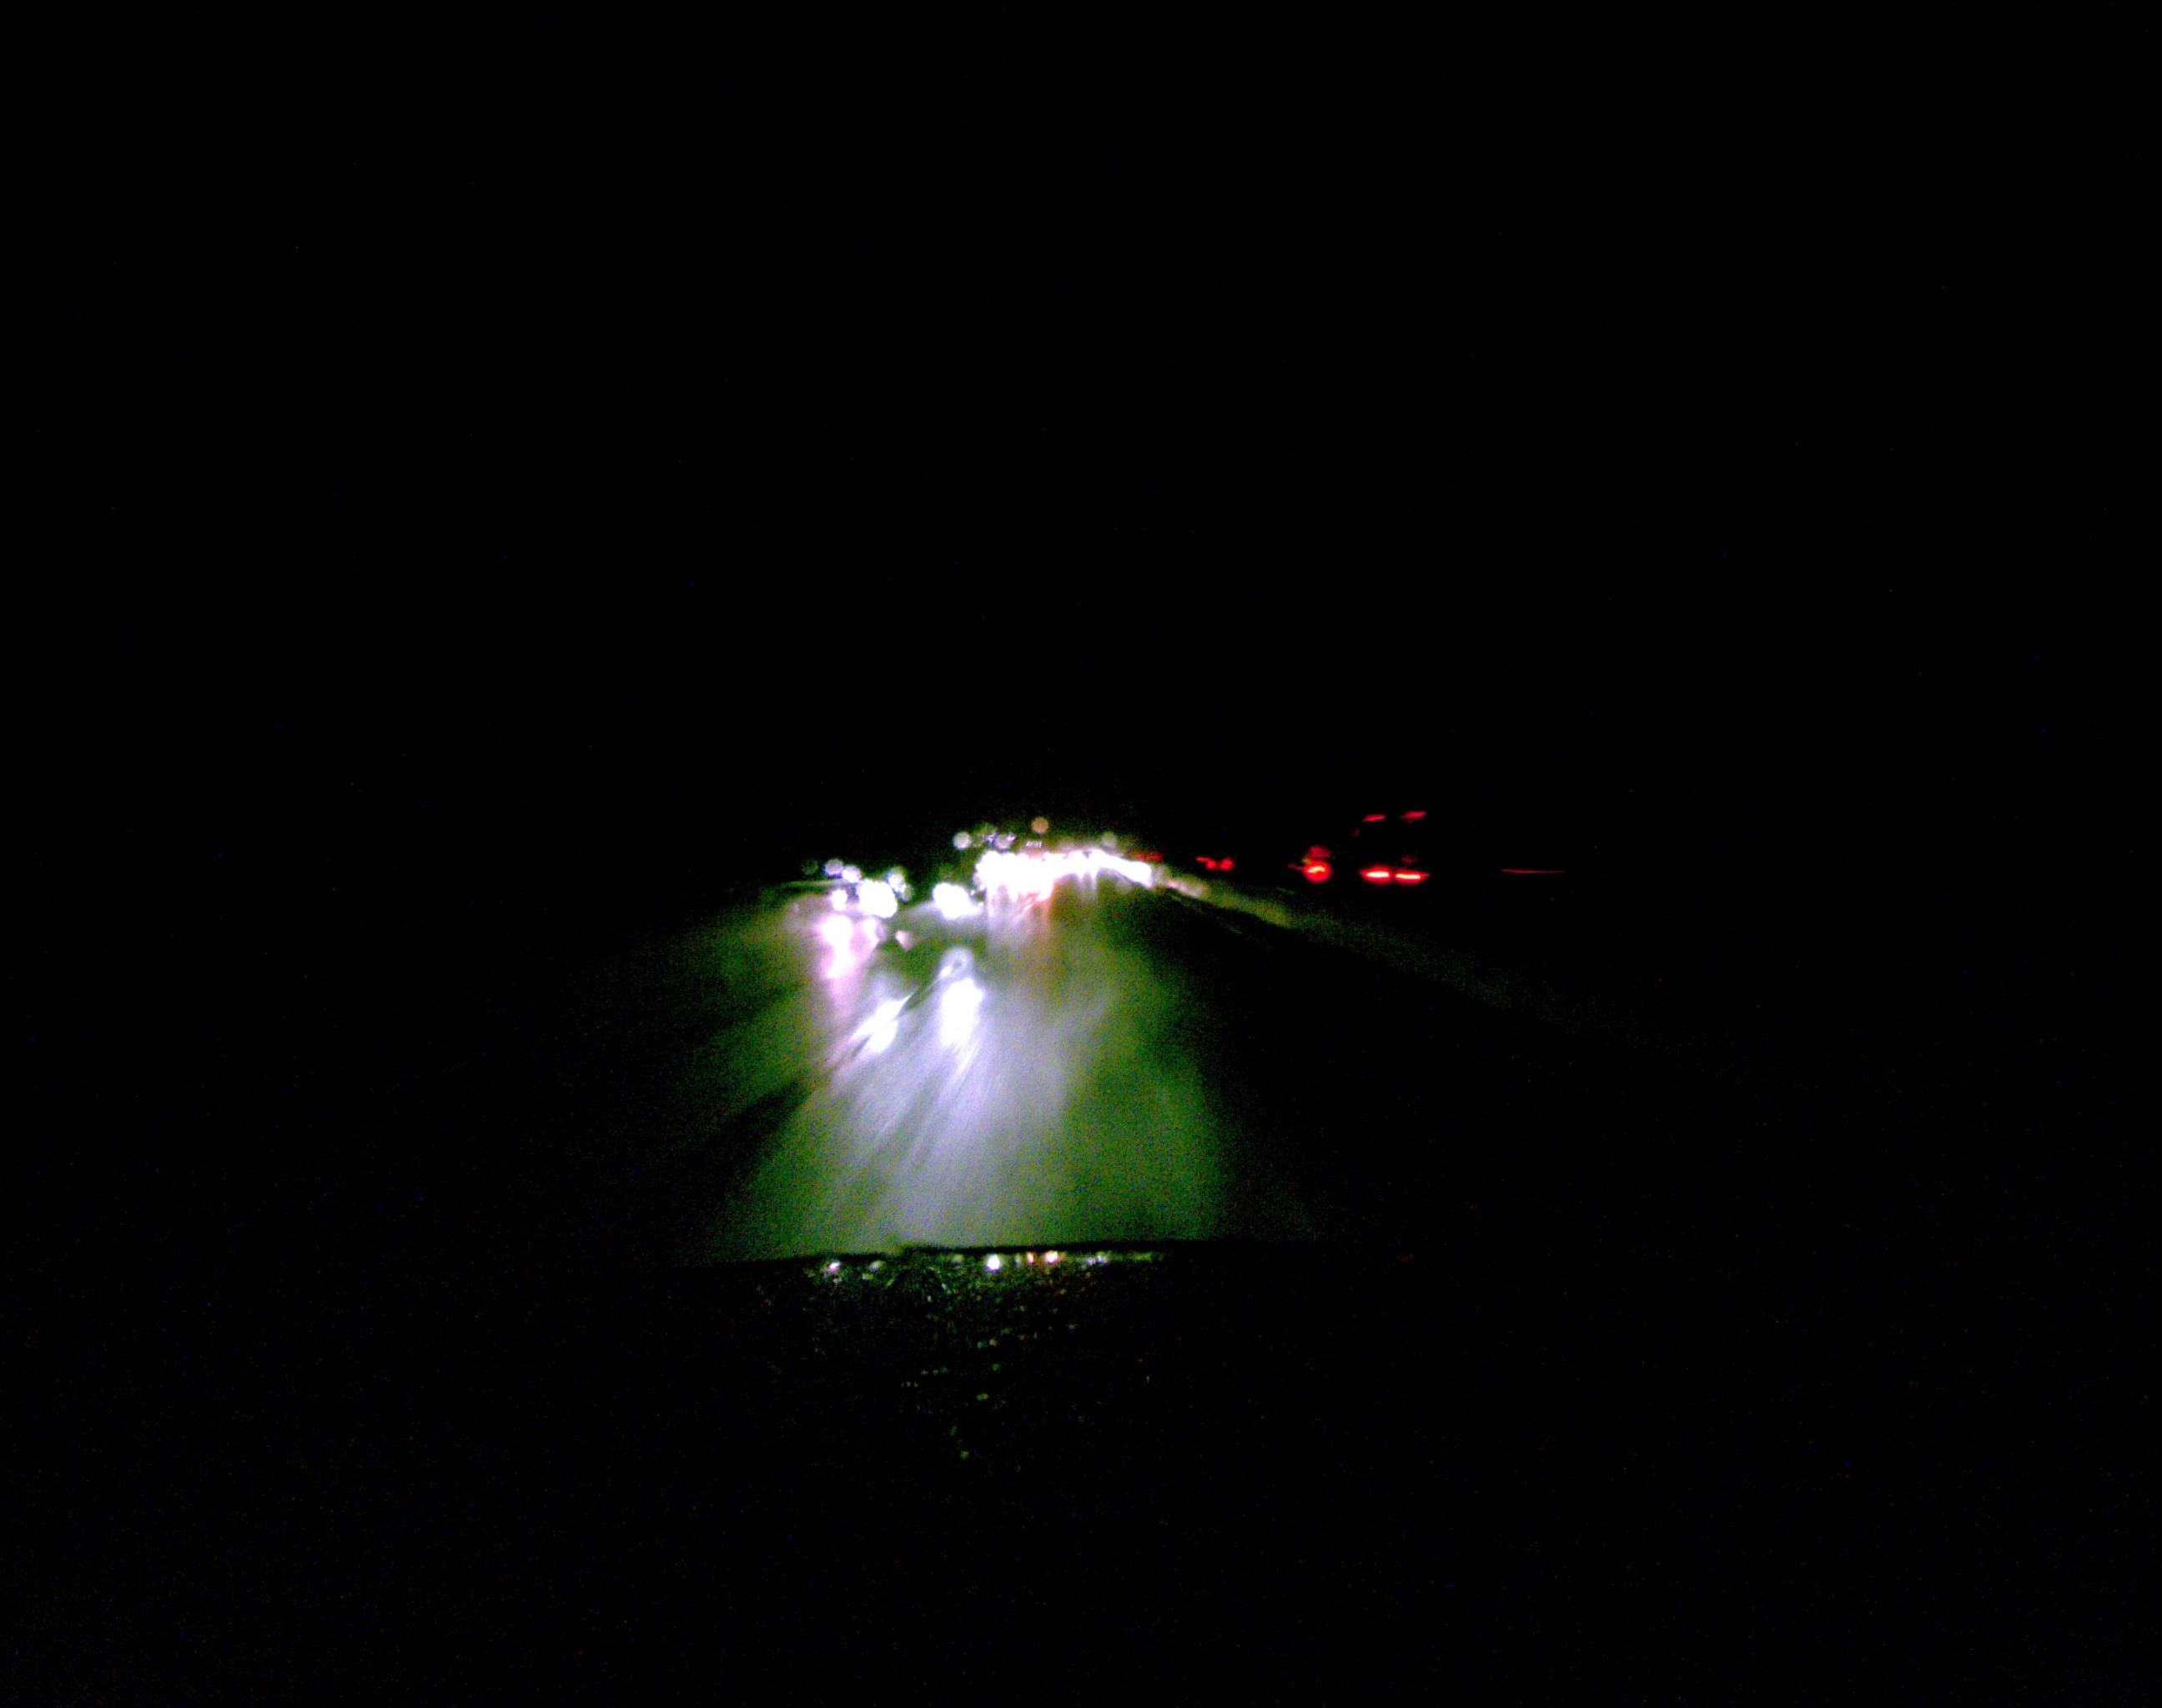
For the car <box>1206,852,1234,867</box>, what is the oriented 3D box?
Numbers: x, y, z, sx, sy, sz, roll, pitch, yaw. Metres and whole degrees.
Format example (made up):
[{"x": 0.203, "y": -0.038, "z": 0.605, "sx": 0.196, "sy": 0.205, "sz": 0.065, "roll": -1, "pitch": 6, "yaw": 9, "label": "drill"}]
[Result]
[{"x": 13.381, "y": 0.513, "z": 73.355, "sx": 1.998, "sy": 1.412, "sz": 4.000, "roll": 0, "pitch": 0, "yaw": 1, "label": "car"}]

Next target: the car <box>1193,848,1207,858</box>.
[{"x": 24.799, "y": -0.168, "z": 158.684, "sx": 1.998, "sy": 1.936, "sz": 5.386, "roll": 1, "pitch": 0, "yaw": 1, "label": "car"}]

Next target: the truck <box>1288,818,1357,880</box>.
[{"x": 17.462, "y": -0.335, "z": 55.300, "sx": 3.062, "sy": 4.268, "sz": 6.083, "roll": 1, "pitch": 0, "yaw": 1, "label": "truck"}]

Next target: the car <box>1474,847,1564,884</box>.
[{"x": 23.871, "y": 0.589, "z": 41.658, "sx": 2.219, "sy": 1.882, "sz": 4.789, "roll": 0, "pitch": 0, "yaw": 1, "label": "car"}]

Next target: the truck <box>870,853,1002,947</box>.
[{"x": -2.993, "y": 0.871, "z": 16.813, "sx": 1.848, "sy": 1.686, "sz": 4.854, "roll": -2, "pitch": 1, "yaw": 1, "label": "truck"}]

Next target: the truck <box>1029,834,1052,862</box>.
[{"x": -6.274, "y": -0.893, "z": 117.784, "sx": 2.778, "sy": 4.168, "sz": 6.016, "roll": -2, "pitch": 1, "yaw": 2, "label": "truck"}]

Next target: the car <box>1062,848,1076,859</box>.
[{"x": -1.880, "y": -0.109, "z": 119.943, "sx": 1.944, "sy": 1.521, "sz": 4.000, "roll": -2, "pitch": 1, "yaw": 2, "label": "car"}]

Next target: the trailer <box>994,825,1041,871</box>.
[{"x": -6.254, "y": -0.628, "z": 77.355, "sx": 2.871, "sy": 4.074, "sz": 13.641, "roll": -2, "pitch": 1, "yaw": 2, "label": "trailer"}]

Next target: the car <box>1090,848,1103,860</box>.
[{"x": 2.084, "y": -0.026, "z": 101.213, "sx": 1.619, "sy": 1.452, "sz": 3.767, "roll": -2, "pitch": 1, "yaw": 2, "label": "car"}]

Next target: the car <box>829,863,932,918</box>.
[{"x": -6.238, "y": 1.071, "z": 24.360, "sx": 1.747, "sy": 1.470, "sz": 5.366, "roll": -2, "pitch": 0, "yaw": 1, "label": "car"}]

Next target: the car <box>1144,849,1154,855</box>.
[{"x": 15.983, "y": -0.415, "z": 178.780, "sx": 1.998, "sy": 1.407, "sz": 4.589, "roll": 1, "pitch": 0, "yaw": 1, "label": "car"}]

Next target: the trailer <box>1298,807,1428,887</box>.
[{"x": 17.387, "y": -0.390, "z": 48.507, "sx": 3.055, "sy": 4.268, "sz": 14.408, "roll": 1, "pitch": 0, "yaw": 1, "label": "trailer"}]

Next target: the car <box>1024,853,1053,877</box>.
[{"x": -2.940, "y": 0.748, "z": 53.366, "sx": 1.619, "sy": 1.494, "sz": 3.767, "roll": -2, "pitch": 1, "yaw": 2, "label": "car"}]

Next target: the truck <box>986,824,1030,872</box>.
[{"x": -6.616, "y": -0.545, "z": 69.764, "sx": 2.866, "sy": 4.079, "sz": 7.014, "roll": -2, "pitch": 0, "yaw": 2, "label": "truck"}]
